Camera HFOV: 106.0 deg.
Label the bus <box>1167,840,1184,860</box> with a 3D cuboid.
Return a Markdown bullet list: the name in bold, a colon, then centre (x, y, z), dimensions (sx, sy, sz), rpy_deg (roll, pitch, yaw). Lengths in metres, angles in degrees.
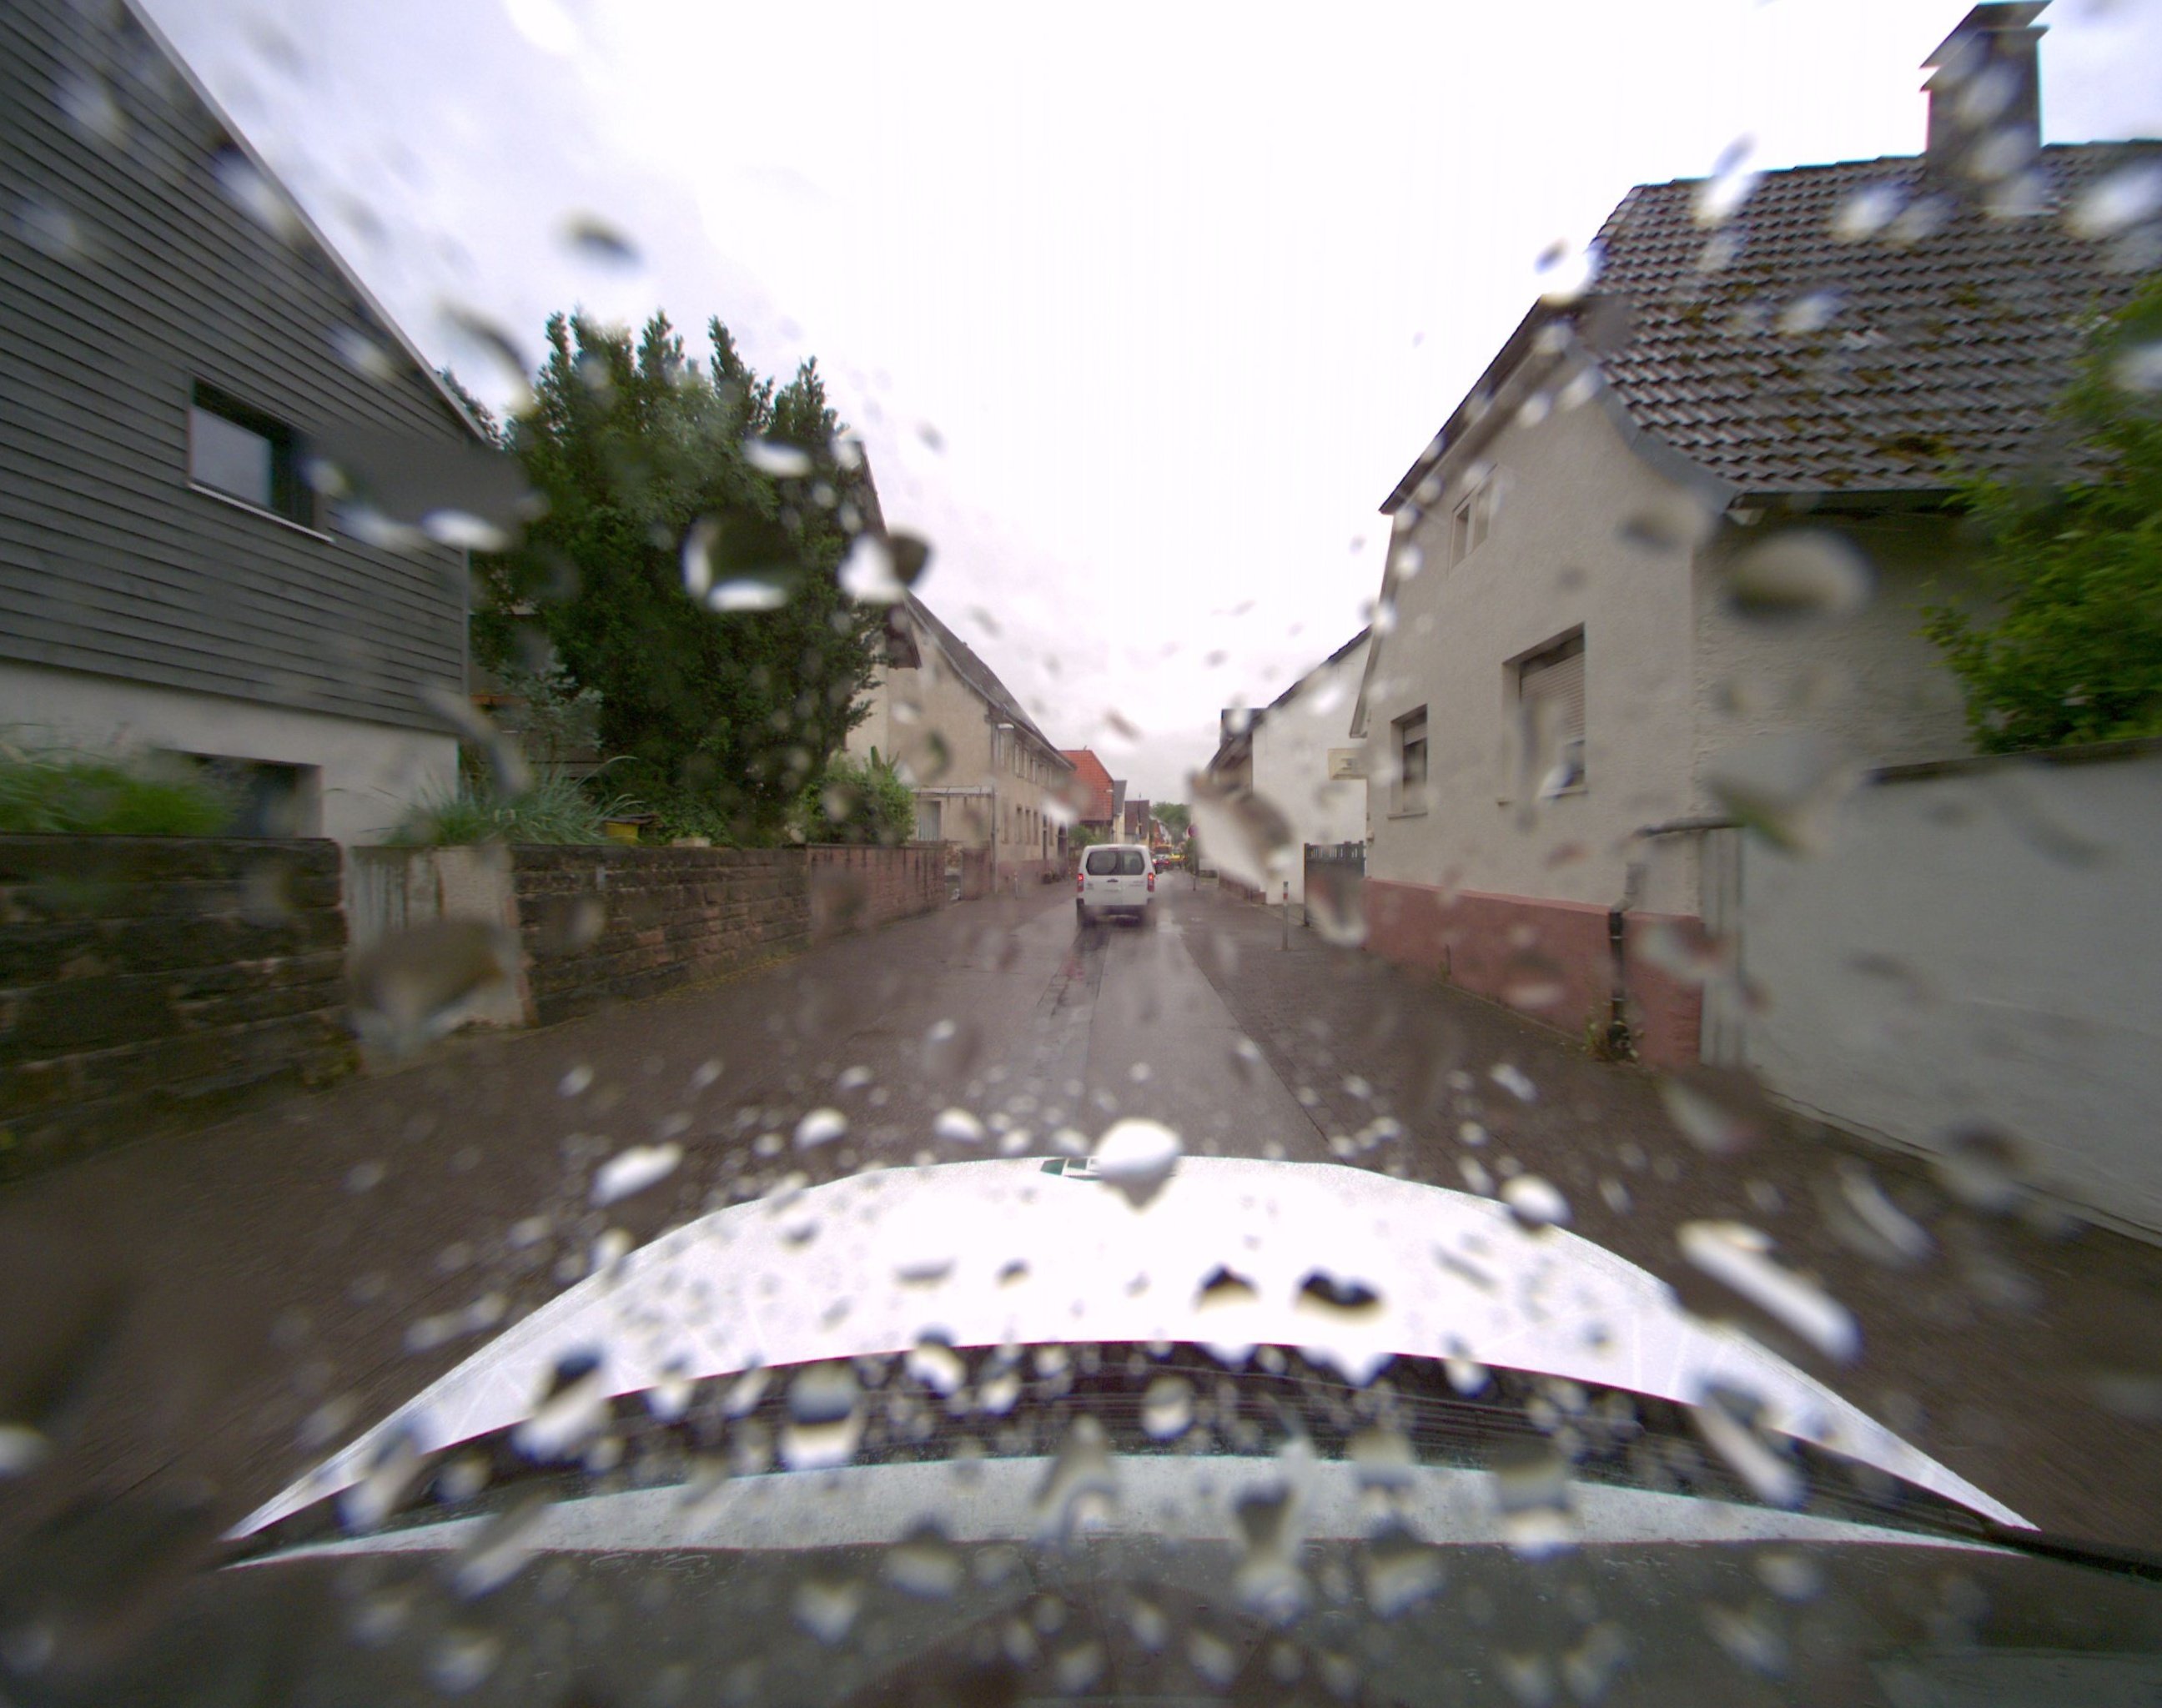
- **bus**: centre (16.925, -0.612, 145.076), dimensions (2.778, 3.329, 8.193), rpy_deg (2, -1, 7)

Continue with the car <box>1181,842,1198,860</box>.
- **car**: centre (12.752, -0.282, 95.947), dimensions (1.817, 2.014, 3.701), rpy_deg (1, -1, 7)

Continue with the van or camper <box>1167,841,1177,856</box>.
- **van or camper**: centre (18.570, -1.098, 166.189), dimensions (1.824, 2.926, 5.375), rpy_deg (1, -1, 9)

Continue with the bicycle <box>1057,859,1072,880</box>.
- **bicycle**: centre (-0.937, 0.889, 46.238), dimensions (0.480, 1.180, 1.840), rpy_deg (1, -1, 9)

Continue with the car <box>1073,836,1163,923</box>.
- **car**: centre (0.979, 0.580, 19.375), dimensions (1.785, 1.819, 4.109), rpy_deg (-2, -1, 7)

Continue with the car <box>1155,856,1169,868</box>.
- **car**: centre (9.466, 0.962, 94.970), dimensions (1.553, 1.371, 3.592), rpy_deg (1, -1, 8)

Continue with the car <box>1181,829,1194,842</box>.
- **car**: centre (17.651, -3.070, 134.598), dimensions (1.982, 2.014, 4.009), rpy_deg (1, -1, 8)

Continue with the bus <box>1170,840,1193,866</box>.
- **bus**: centre (13.105, -0.051, 105.992), dimensions (2.778, 3.180, 8.193), rpy_deg (2, -1, 7)
